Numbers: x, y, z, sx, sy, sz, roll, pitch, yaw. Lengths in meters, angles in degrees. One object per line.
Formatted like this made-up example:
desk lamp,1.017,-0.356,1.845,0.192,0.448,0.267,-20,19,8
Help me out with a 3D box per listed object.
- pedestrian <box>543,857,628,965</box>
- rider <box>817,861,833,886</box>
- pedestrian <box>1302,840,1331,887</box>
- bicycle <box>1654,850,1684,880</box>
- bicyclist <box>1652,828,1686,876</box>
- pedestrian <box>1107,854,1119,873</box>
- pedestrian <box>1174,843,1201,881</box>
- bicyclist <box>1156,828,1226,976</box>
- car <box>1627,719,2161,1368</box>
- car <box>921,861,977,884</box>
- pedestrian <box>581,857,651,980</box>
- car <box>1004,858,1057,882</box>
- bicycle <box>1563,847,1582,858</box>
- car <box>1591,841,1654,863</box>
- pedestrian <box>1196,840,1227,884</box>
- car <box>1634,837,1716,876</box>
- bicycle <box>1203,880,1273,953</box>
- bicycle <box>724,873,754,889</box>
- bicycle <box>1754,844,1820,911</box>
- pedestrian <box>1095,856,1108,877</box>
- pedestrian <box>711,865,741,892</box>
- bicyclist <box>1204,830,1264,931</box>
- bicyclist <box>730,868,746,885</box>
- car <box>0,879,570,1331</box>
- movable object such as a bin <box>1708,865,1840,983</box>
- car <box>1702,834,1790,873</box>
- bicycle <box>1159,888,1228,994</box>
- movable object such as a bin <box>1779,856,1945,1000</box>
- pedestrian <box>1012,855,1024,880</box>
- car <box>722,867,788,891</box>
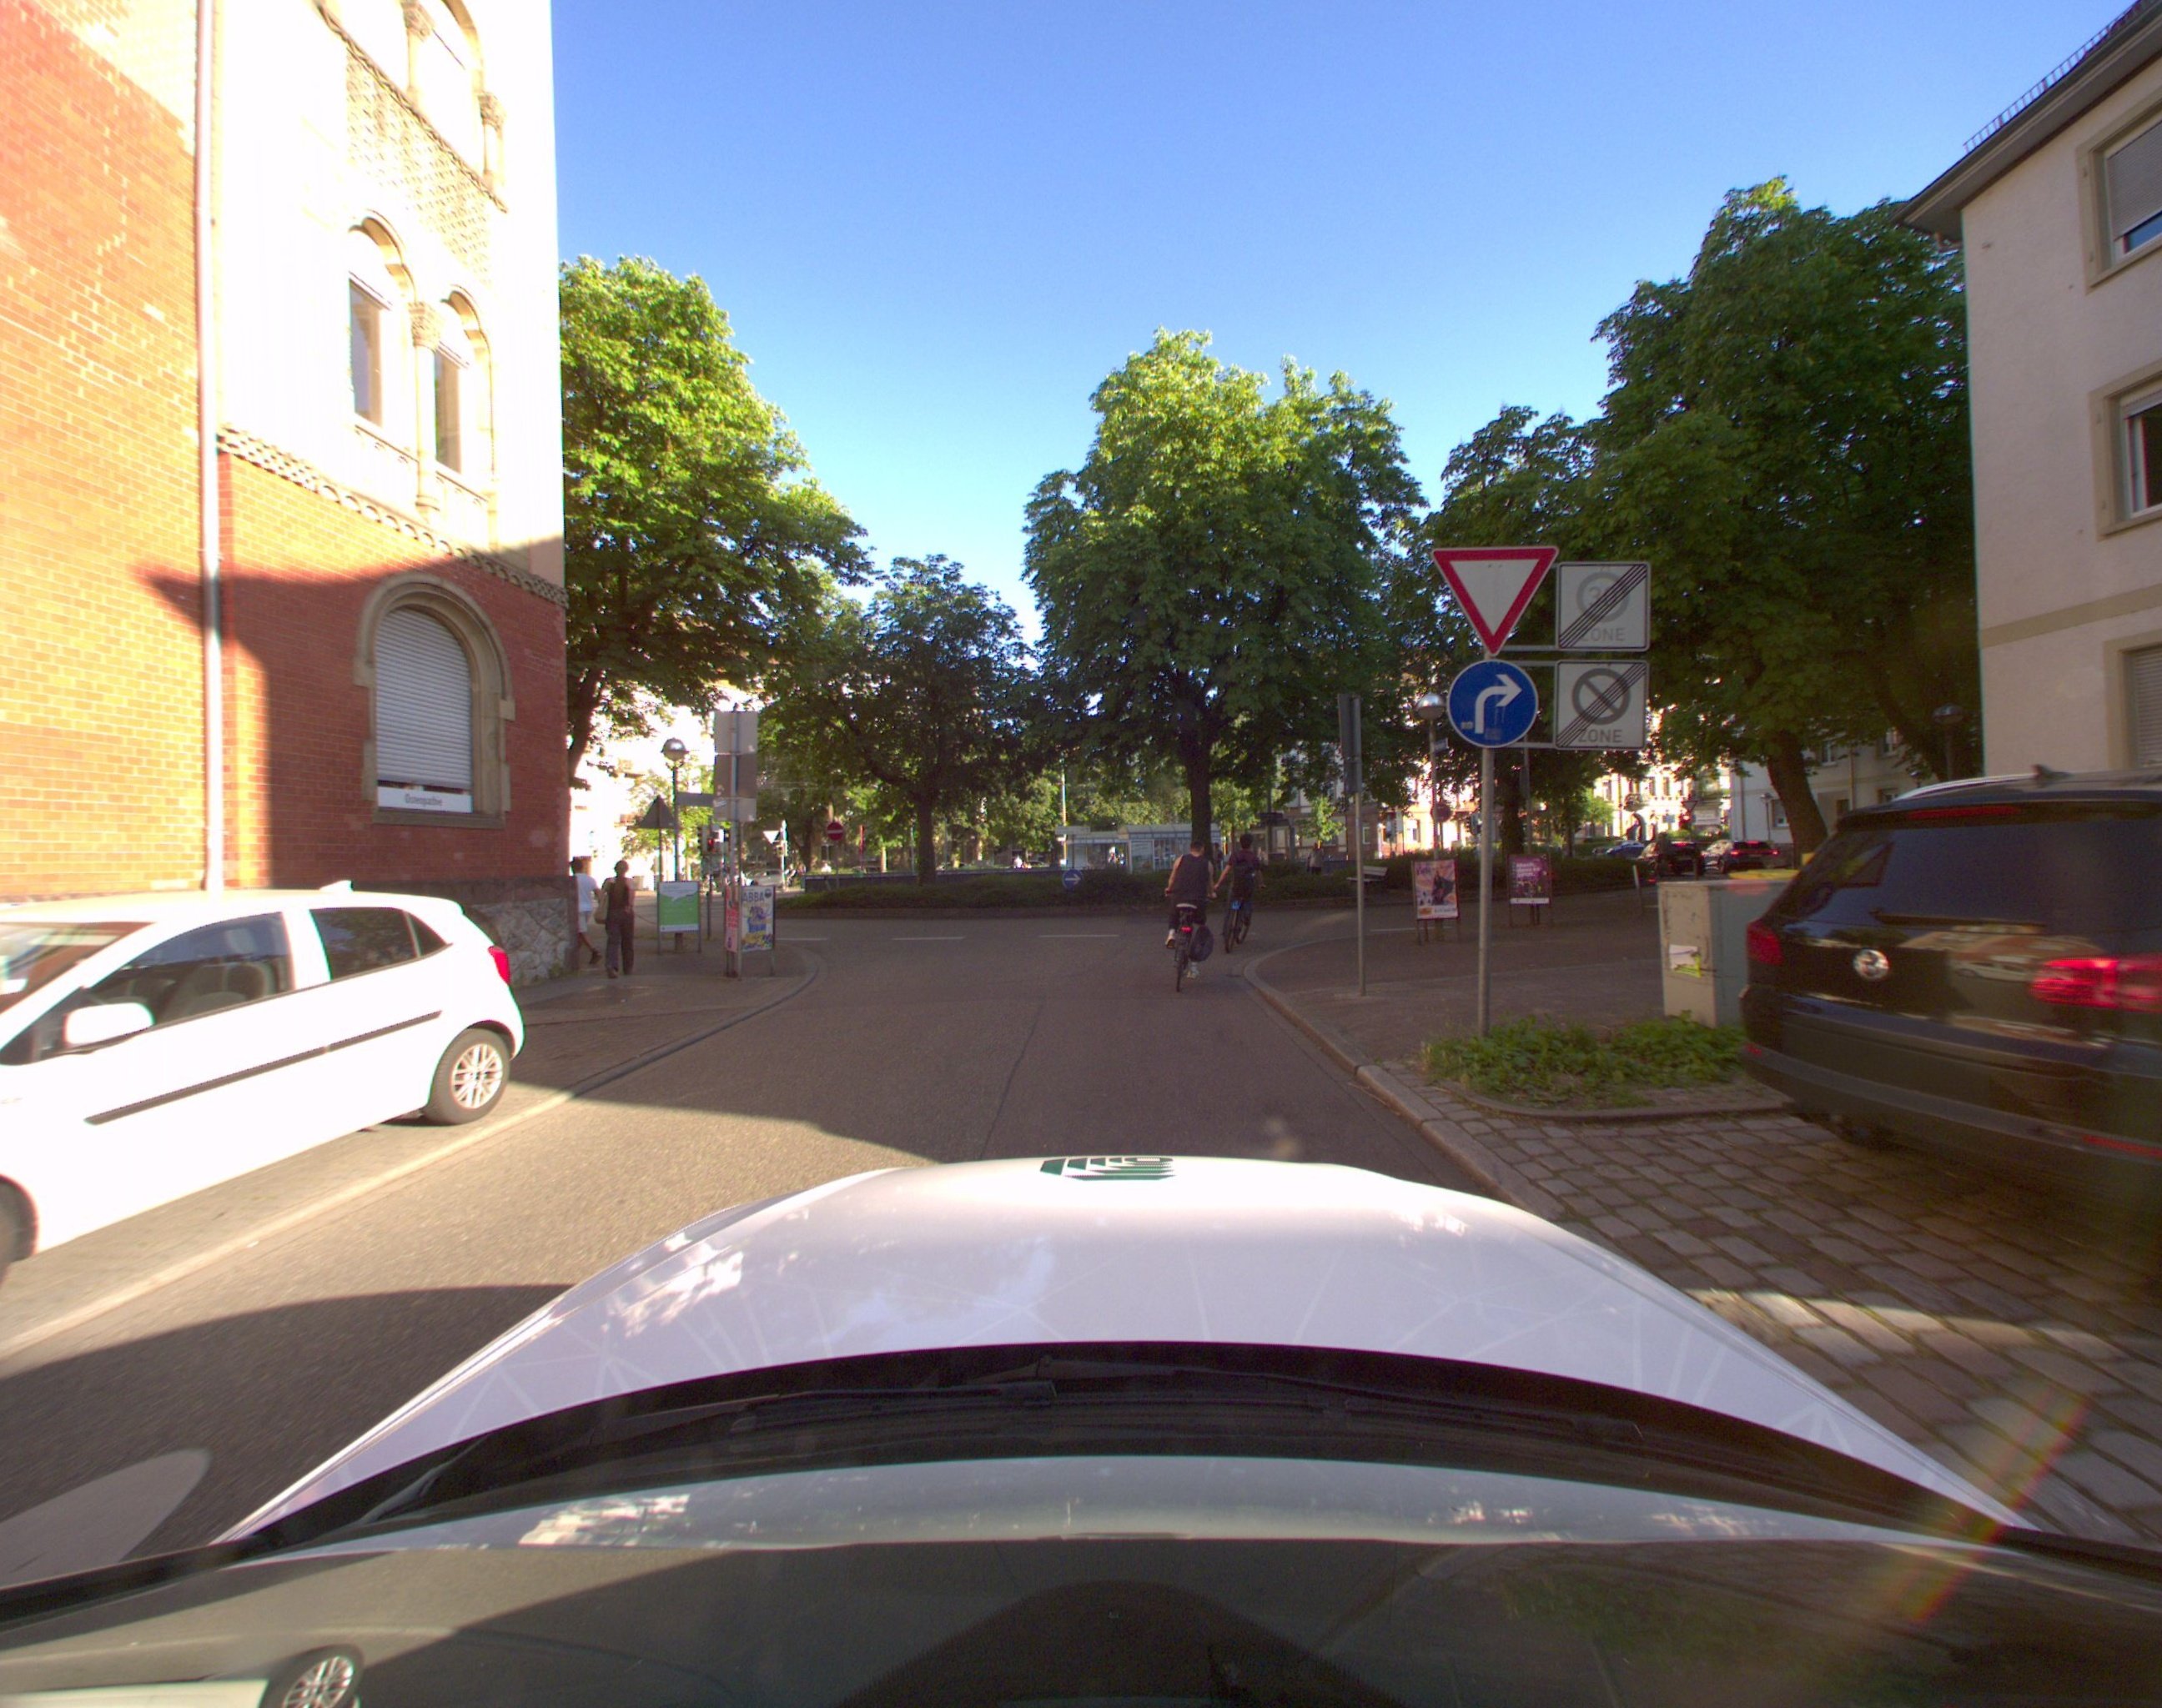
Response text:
pedestrian,-7.935,0.880,13.076,0.867,1.643,0.857,-2,0,-10
rider,-17.362,1.293,55.191,0.813,1.681,0.673,0,-1,12
pedestrian,8.713,0.362,30.205,0.909,1.684,0.782,-2,0,11
bicycle,24.003,0.425,33.279,0.592,1.161,2.053,-2,0,25
bicyclist,24.087,-0.095,33.362,0.843,1.898,1.146,-2,-1,23
pedestrian,2.922,0.843,73.415,0.997,1.630,1.064,-2,0,0
pedestrian,5.479,0.423,41.938,1.020,1.897,0.906,-2,0,-20
bicyclist,1.313,0.550,9.811,0.748,1.682,0.915,-2,0,6
car,4.830,0.391,3.145,4.097,1.712,2.022,-3,0,-3
car,-10.586,1.483,65.406,3.971,1.679,1.931,-2,0,-42
pedestrian,-6.388,0.857,11.213,0.601,1.605,0.850,-2,-1,-16
car,-4.292,1.316,69.425,4.005,1.870,1.984,-2,0,-24
bicycle,43.273,-0.142,71.713,1.439,0.861,0.450,-2,0,-3
car,44.054,-0.133,66.295,4.373,1.496,1.988,-4,0,-18
pedestrian,5.137,0.303,32.047,0.887,1.684,0.825,-2,0,35
car,26.574,0.112,36.584,1.798,1.543,3.978,-4,-2,19
bicycle,2.558,0.963,13.085,0.668,1.054,2.072,-2,-2,23
bicycle,-21.702,1.712,51.702,0.646,0.945,1.753,-2,0,29
bicycle,13.522,0.428,15.583,1.799,1.182,0.549,-2,-1,-37
pedestrian,1.497,0.917,60.130,0.809,1.543,0.818,0,-1,-10
pedestrian,-26.063,1.786,59.814,1.244,1.912,1.503,-2,-1,29
bicyclist,2.436,0.407,12.880,0.665,1.514,1.075,-3,-2,23
bicyclist,-21.748,1.421,51.645,0.604,1.054,0.681,-2,0,29
car,-4.575,0.918,3.928,1.698,1.485,3.799,0,0,2
movable object such as a bin,6.658,0.650,7.857,0.654,1.064,0.695,-2,0,2
car,29.601,-0.022,36.414,1.875,1.577,4.021,-2,0,21
bicycle,1.334,0.983,9.839,0.734,1.012,2.065,0,1,6
movable object such as a bin,6.701,0.607,7.026,0.734,1.153,0.702,-2,0,2
pedestrian,-4.486,0.956,57.698,0.704,1.695,0.666,0,-1,-20
car,-21.784,1.653,54.589,1.877,1.439,3.729,-2,0,28
